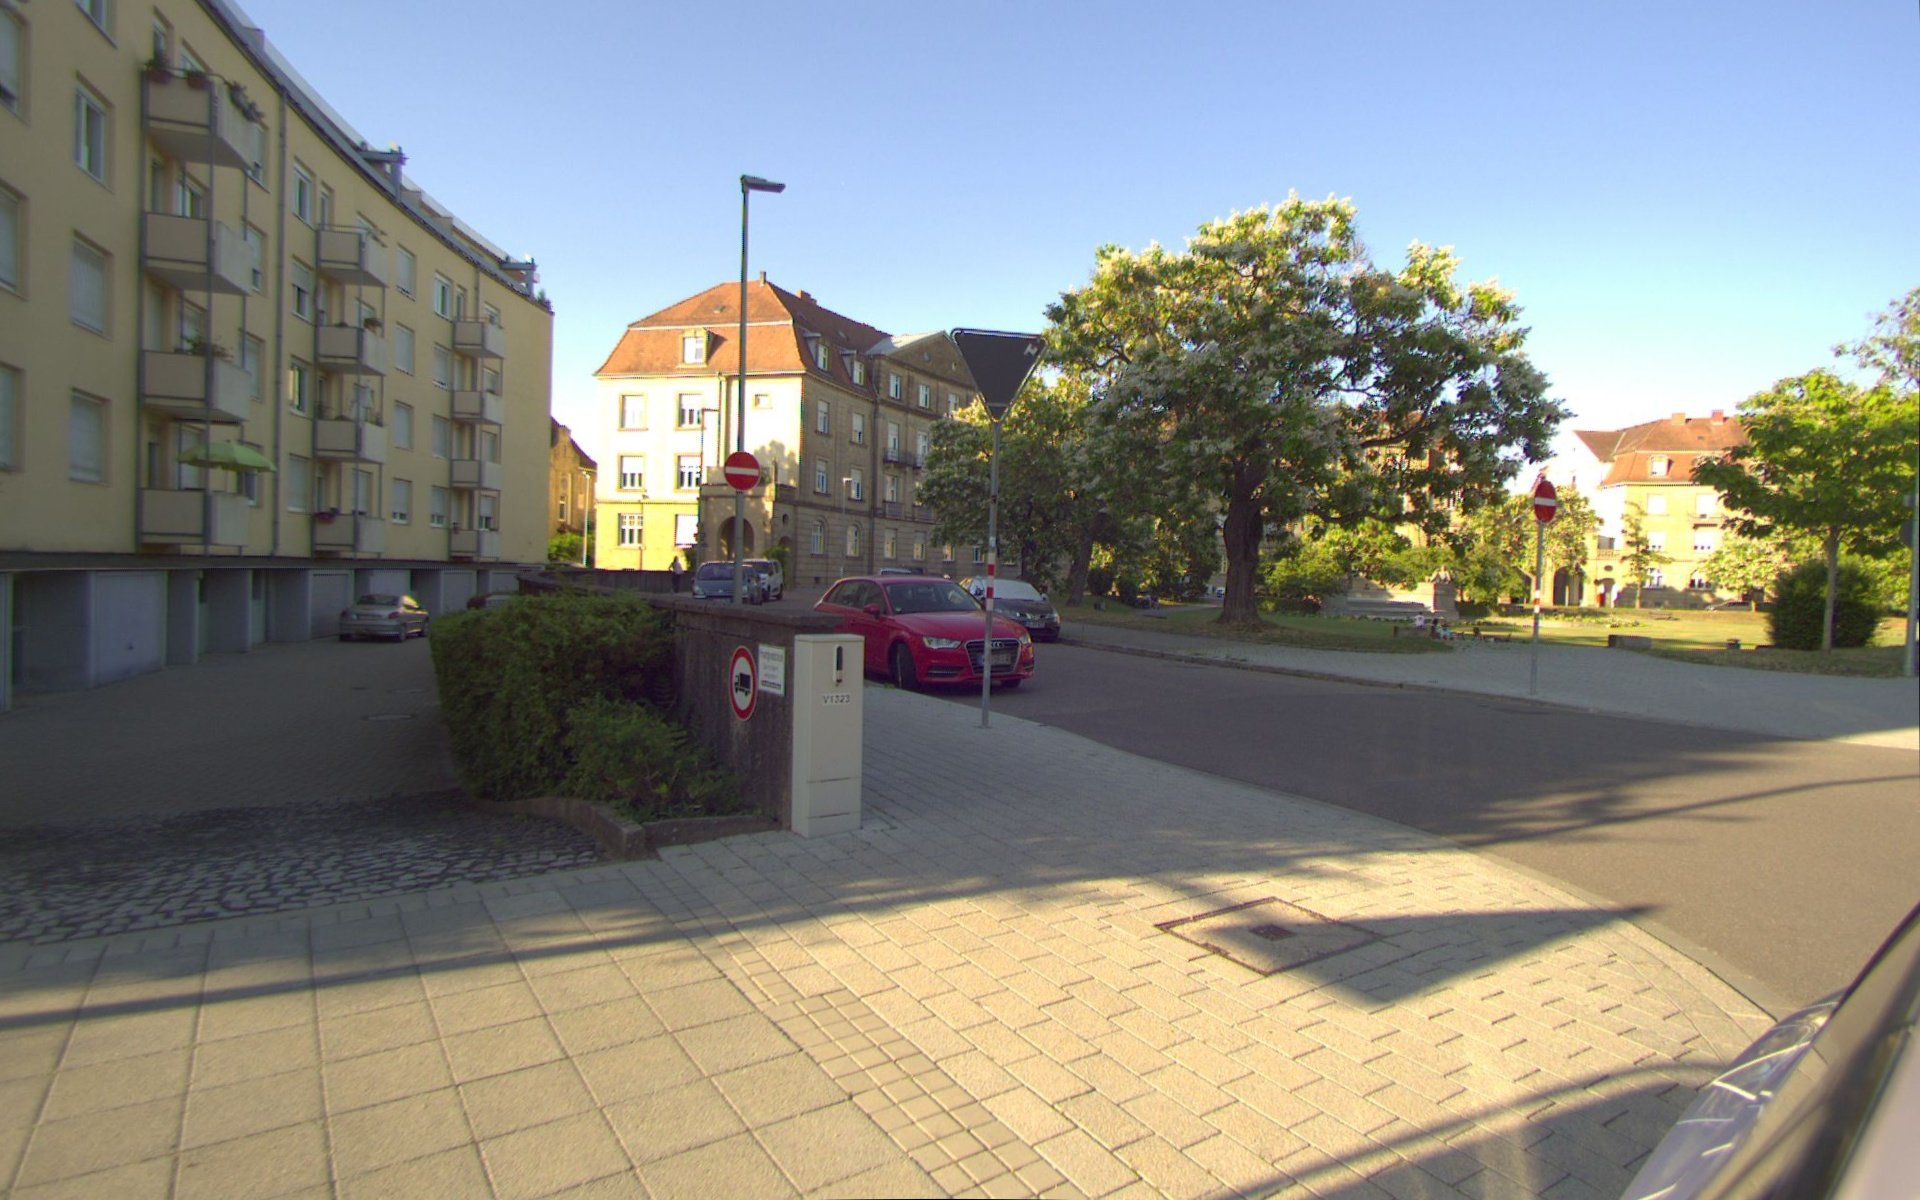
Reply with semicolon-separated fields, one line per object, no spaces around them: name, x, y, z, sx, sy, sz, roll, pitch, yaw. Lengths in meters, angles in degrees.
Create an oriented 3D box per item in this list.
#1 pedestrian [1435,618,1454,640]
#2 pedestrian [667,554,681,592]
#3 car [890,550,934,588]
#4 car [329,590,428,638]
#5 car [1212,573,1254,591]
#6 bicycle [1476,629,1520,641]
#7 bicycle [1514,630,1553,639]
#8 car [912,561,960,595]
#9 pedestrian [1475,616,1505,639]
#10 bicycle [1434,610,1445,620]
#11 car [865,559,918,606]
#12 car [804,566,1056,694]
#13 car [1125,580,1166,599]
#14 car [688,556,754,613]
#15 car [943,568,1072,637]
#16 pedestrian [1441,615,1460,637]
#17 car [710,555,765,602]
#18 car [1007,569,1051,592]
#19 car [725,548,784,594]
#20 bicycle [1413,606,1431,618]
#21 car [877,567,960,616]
pedestrian;17.830;1.068;37.250;0.446;0.756;0.498;1;1;-39
pedestrian;-12.244;-1.169;43.361;0.496;1.612;0.527;1;0;-6
car;-2.447;-1.577;52.550;1.696;1.779;3.698;3;0;6
car;-17.042;0.380;29.810;1.608;1.296;3.379;1;1;-13
car;26.129;-1.686;96.767;3.629;1.517;1.729;3;0;-28
bicycle;20.702;1.350;38.955;1.894;0.387;0.660;1;2;-33
bicycle;22.947;1.379;40.470;1.670;0.323;0.660;1;2;-33
car;-1.365;-1.231;58.395;1.703;1.779;3.685;3;0;16
pedestrian;19.425;0.995;37.101;0.796;0.774;0.498;3;1;4
bicycle;27.132;0.847;57.277;0.481;0.590;0.437;1;1;16
car;-2.694;-0.680;39.037;1.691;1.648;3.710;3;0;-8
car;-0.573;0.272;13.772;1.754;1.437;4.052;-2;2;-29
car;16.829;-0.949;91.715;1.770;1.603;3.938;2;1;43
car;-7.163;-0.508;30.676;1.672;1.596;4.055;0;2;-9
car;1.020;0.025;24.029;1.690;1.445;4.009;3;0;-18
pedestrian;19.035;1.008;39.300;0.489;0.845;0.455;1;0;-2
car;-7.987;-0.819;36.631;1.672;1.596;4.054;0;2;-8
car;5.128;-1.443;75.200;1.714;1.517;3.661;3;0;32
car;-8.686;-1.215;43.023;1.674;1.818;4.047;1;1;0
bicycle;26.270;0.664;57.533;0.893;0.660;0.437;2;1;17
car;-1.310;-0.276;30.603;1.690;1.313;3.712;3;0;-15
